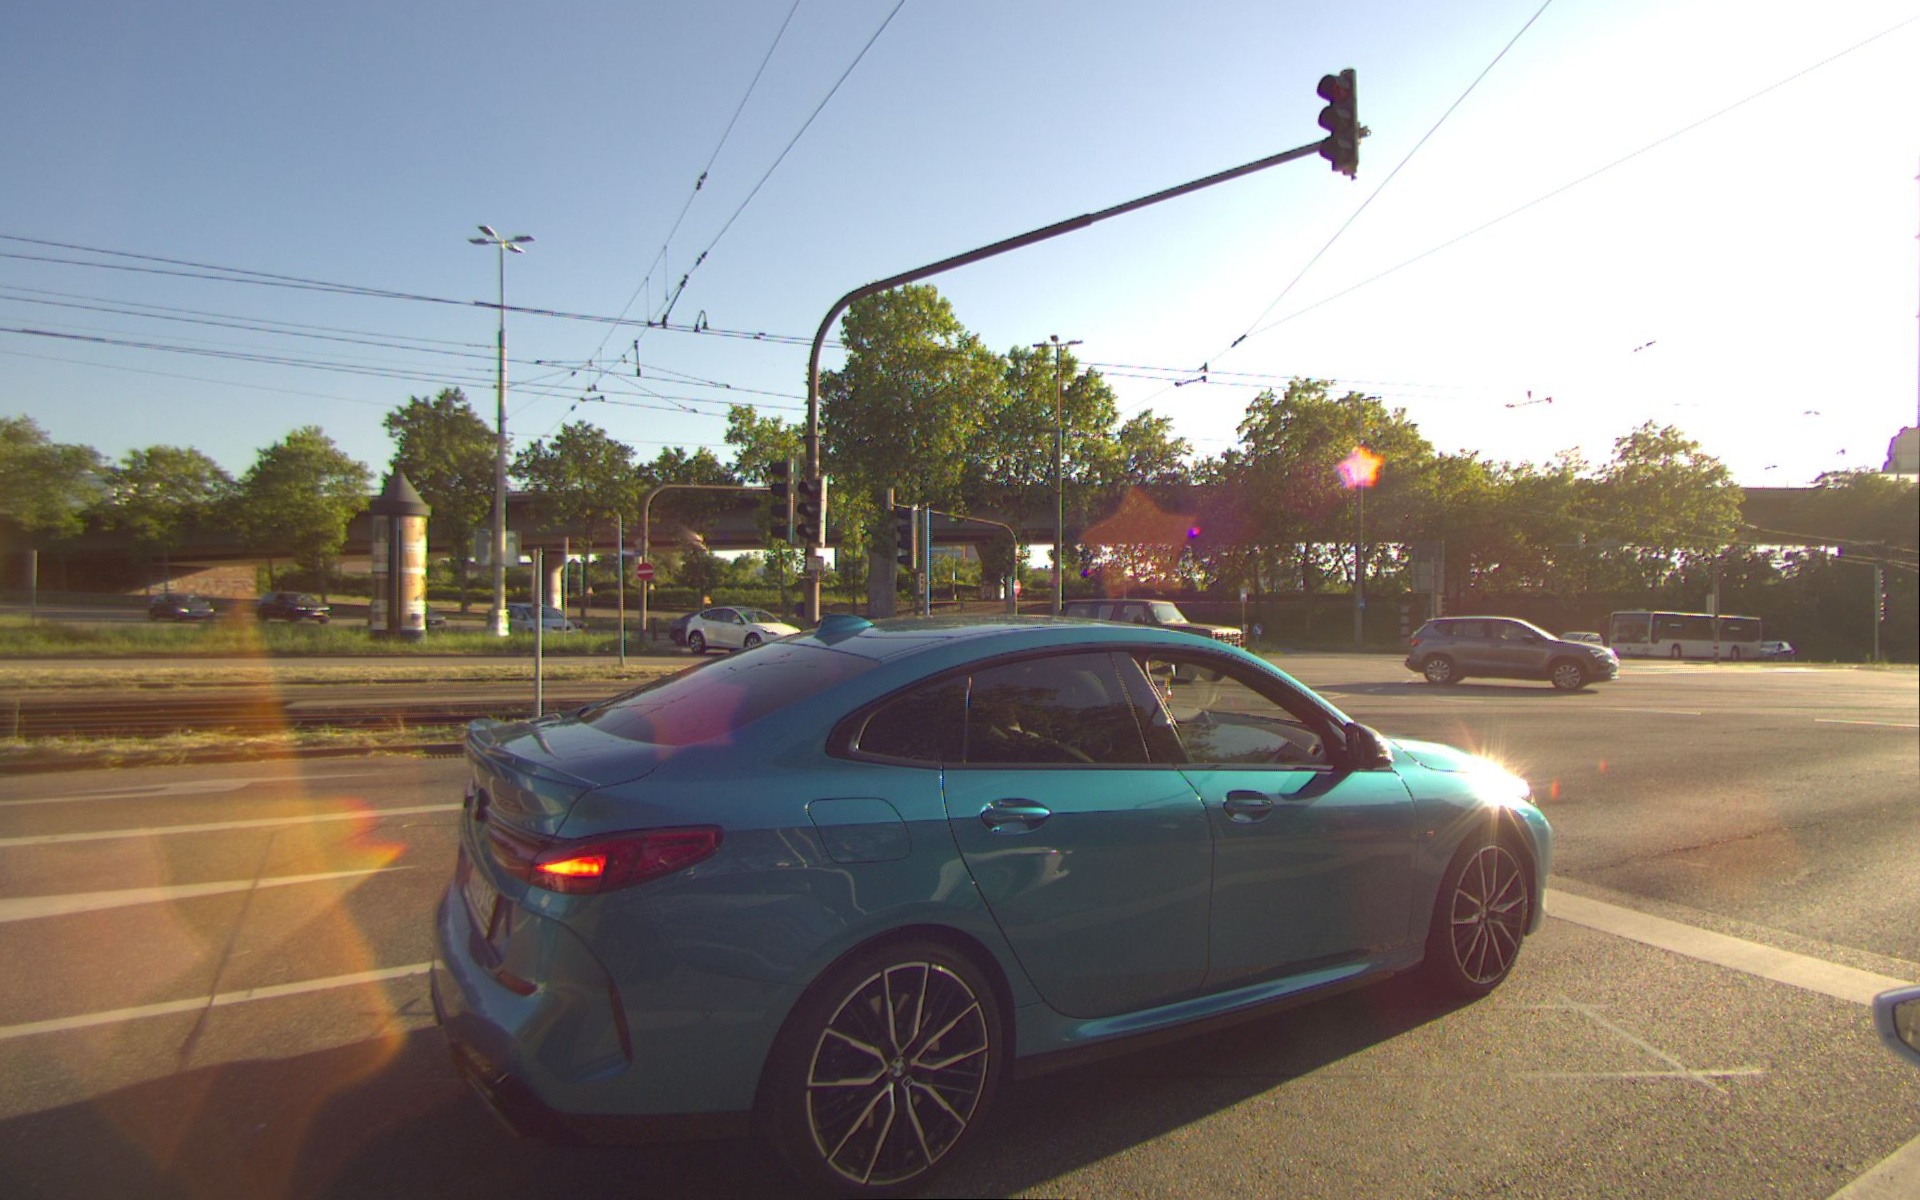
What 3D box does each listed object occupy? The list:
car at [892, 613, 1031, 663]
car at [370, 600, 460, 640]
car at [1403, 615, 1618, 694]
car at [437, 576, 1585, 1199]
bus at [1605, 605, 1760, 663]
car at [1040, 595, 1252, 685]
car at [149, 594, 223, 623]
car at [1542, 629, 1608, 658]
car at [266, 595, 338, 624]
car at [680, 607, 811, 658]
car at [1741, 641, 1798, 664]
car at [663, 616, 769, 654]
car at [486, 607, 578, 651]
[{"bbox_3d":[-0.010,1.218,33.296,4.553,1.478,1.687,1,-1,38],"label":"car"},{"bbox_3d":[-25.624,0.919,47.186,4.336,1.701,1.690,1,0,31],"label":"car"},{"bbox_3d":[12.656,1.194,23.206,4.181,1.595,1.687,1,-1,37],"label":"car"},{"bbox_3d":[0.448,0.747,3.803,4.162,1.485,1.704,1,-1,-33],"label":"car"},{"bbox_3d":[45.515,2.224,63.091,12.756,3.171,2.534,3,-2,-28],"label":"bus"},{"bbox_3d":[4.592,0.927,25.248,4.868,2.017,2.029,1,-1,39],"label":"car"},{"bbox_3d":[-43.486,0.455,56.428,3.861,1.546,1.722,1,0,26],"label":"car"},{"bbox_3d":[35.092,2.457,57.298,3.964,1.532,1.598,2,0,-32],"label":"car"},{"bbox_3d":[-37.423,0.535,57.081,4.333,1.546,1.621,1,-1,30],"label":"car"},{"bbox_3d":[-7.334,1.068,34.059,4.691,1.595,1.687,0,-1,37],"label":"car"},{"bbox_3d":[54.874,3.542,68.068,3.959,1.438,1.600,1,0,-29],"label":"car"},{"bbox_3d":[-10.051,1.422,41.262,4.417,1.387,1.688,1,-1,35],"label":"car"},{"bbox_3d":[-17.539,1.152,41.120,4.221,1.653,1.686,1,0,39],"label":"car"}]
